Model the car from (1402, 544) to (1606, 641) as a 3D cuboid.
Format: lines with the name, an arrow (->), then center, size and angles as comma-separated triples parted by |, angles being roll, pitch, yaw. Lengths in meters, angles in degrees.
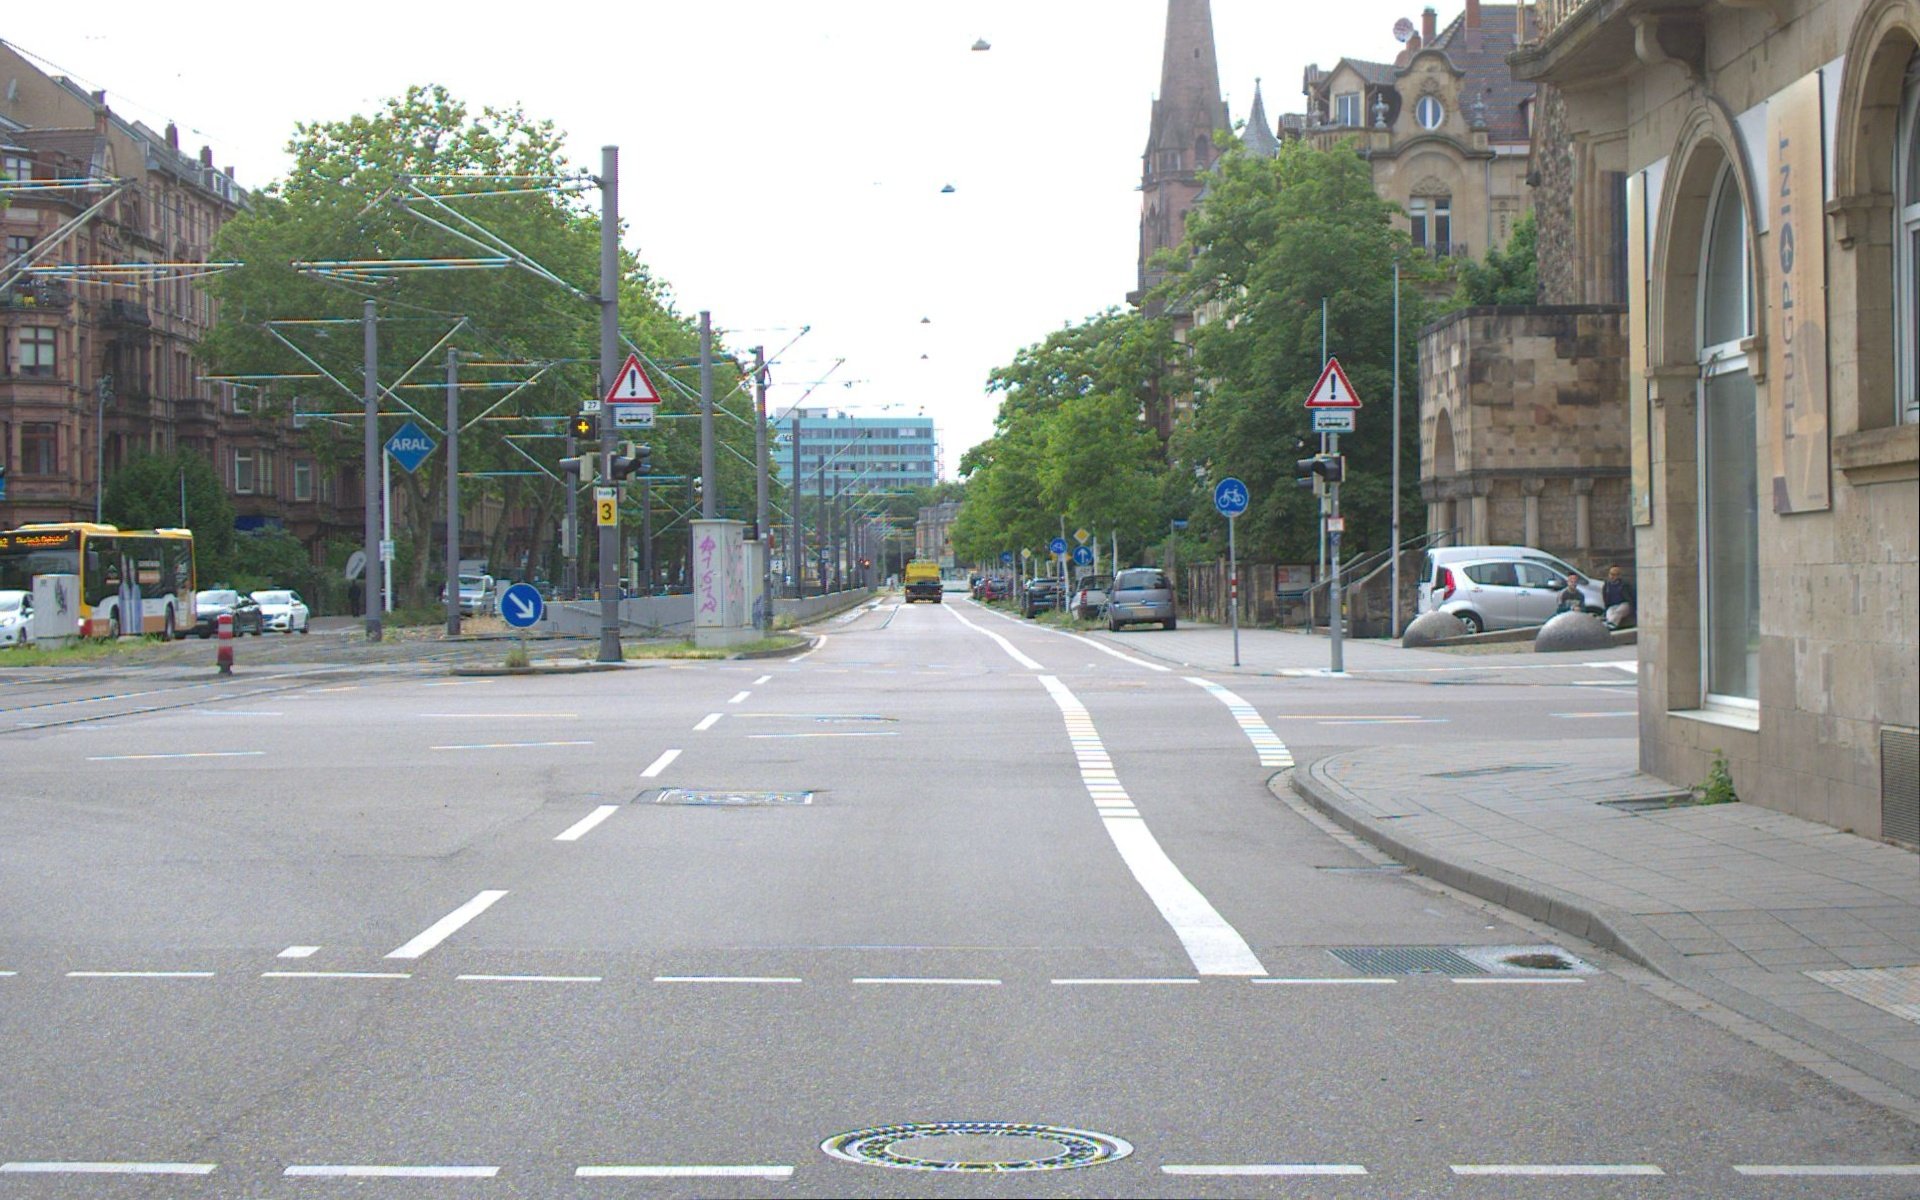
car -> 10.796, -0.161, 68.400 | 3.713, 1.849, 2.000 | 1, 0, 0

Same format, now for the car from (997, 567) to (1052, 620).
car -> 2.540, -0.274, 136.187 | 1.993, 2.007, 4.000 | 1, 1, -1

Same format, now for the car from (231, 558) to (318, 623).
car -> -21.834, -0.311, 109.598 | 1.993, 2.007, 4.000 | 1, 1, -1

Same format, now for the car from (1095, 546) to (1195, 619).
car -> 4.871, -0.470, 89.980 | 1.994, 1.849, 4.024 | 1, 1, 12

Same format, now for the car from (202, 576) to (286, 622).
car -> -21.265, -0.040, 102.216 | 1.656, 1.316, 3.638 | 1, 1, 1

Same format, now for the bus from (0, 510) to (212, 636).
bus -> -22.474, -0.722, 89.090 | 3.231, 3.025, 12.311 | 1, 1, 1

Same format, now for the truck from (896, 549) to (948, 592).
truck -> -2.464, -1.977, 227.415 | 3.055, 2.760, 9.815 | 0, 1, 2

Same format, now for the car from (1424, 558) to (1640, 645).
car -> 10.767, 0.016, 64.925 | 3.713, 1.558, 2.000 | 1, 0, 0

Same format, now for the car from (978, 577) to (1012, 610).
car -> 2.200, -0.397, 216.832 | 1.993, 2.007, 4.000 | 1, 1, -1

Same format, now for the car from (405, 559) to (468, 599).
car -> -21.533, -0.869, 141.516 | 1.993, 1.605, 4.000 | 1, 1, -1

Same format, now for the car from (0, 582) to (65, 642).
car -> -21.907, 0.267, 79.041 | 1.656, 1.316, 3.638 | 1, 1, 1

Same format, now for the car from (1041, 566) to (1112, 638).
car -> 3.348, 0.034, 99.650 | 1.993, 2.007, 4.000 | 1, 1, 1

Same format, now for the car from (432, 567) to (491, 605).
car -> -21.624, -0.628, 149.333 | 1.993, 1.605, 4.000 | 1, 1, -1
